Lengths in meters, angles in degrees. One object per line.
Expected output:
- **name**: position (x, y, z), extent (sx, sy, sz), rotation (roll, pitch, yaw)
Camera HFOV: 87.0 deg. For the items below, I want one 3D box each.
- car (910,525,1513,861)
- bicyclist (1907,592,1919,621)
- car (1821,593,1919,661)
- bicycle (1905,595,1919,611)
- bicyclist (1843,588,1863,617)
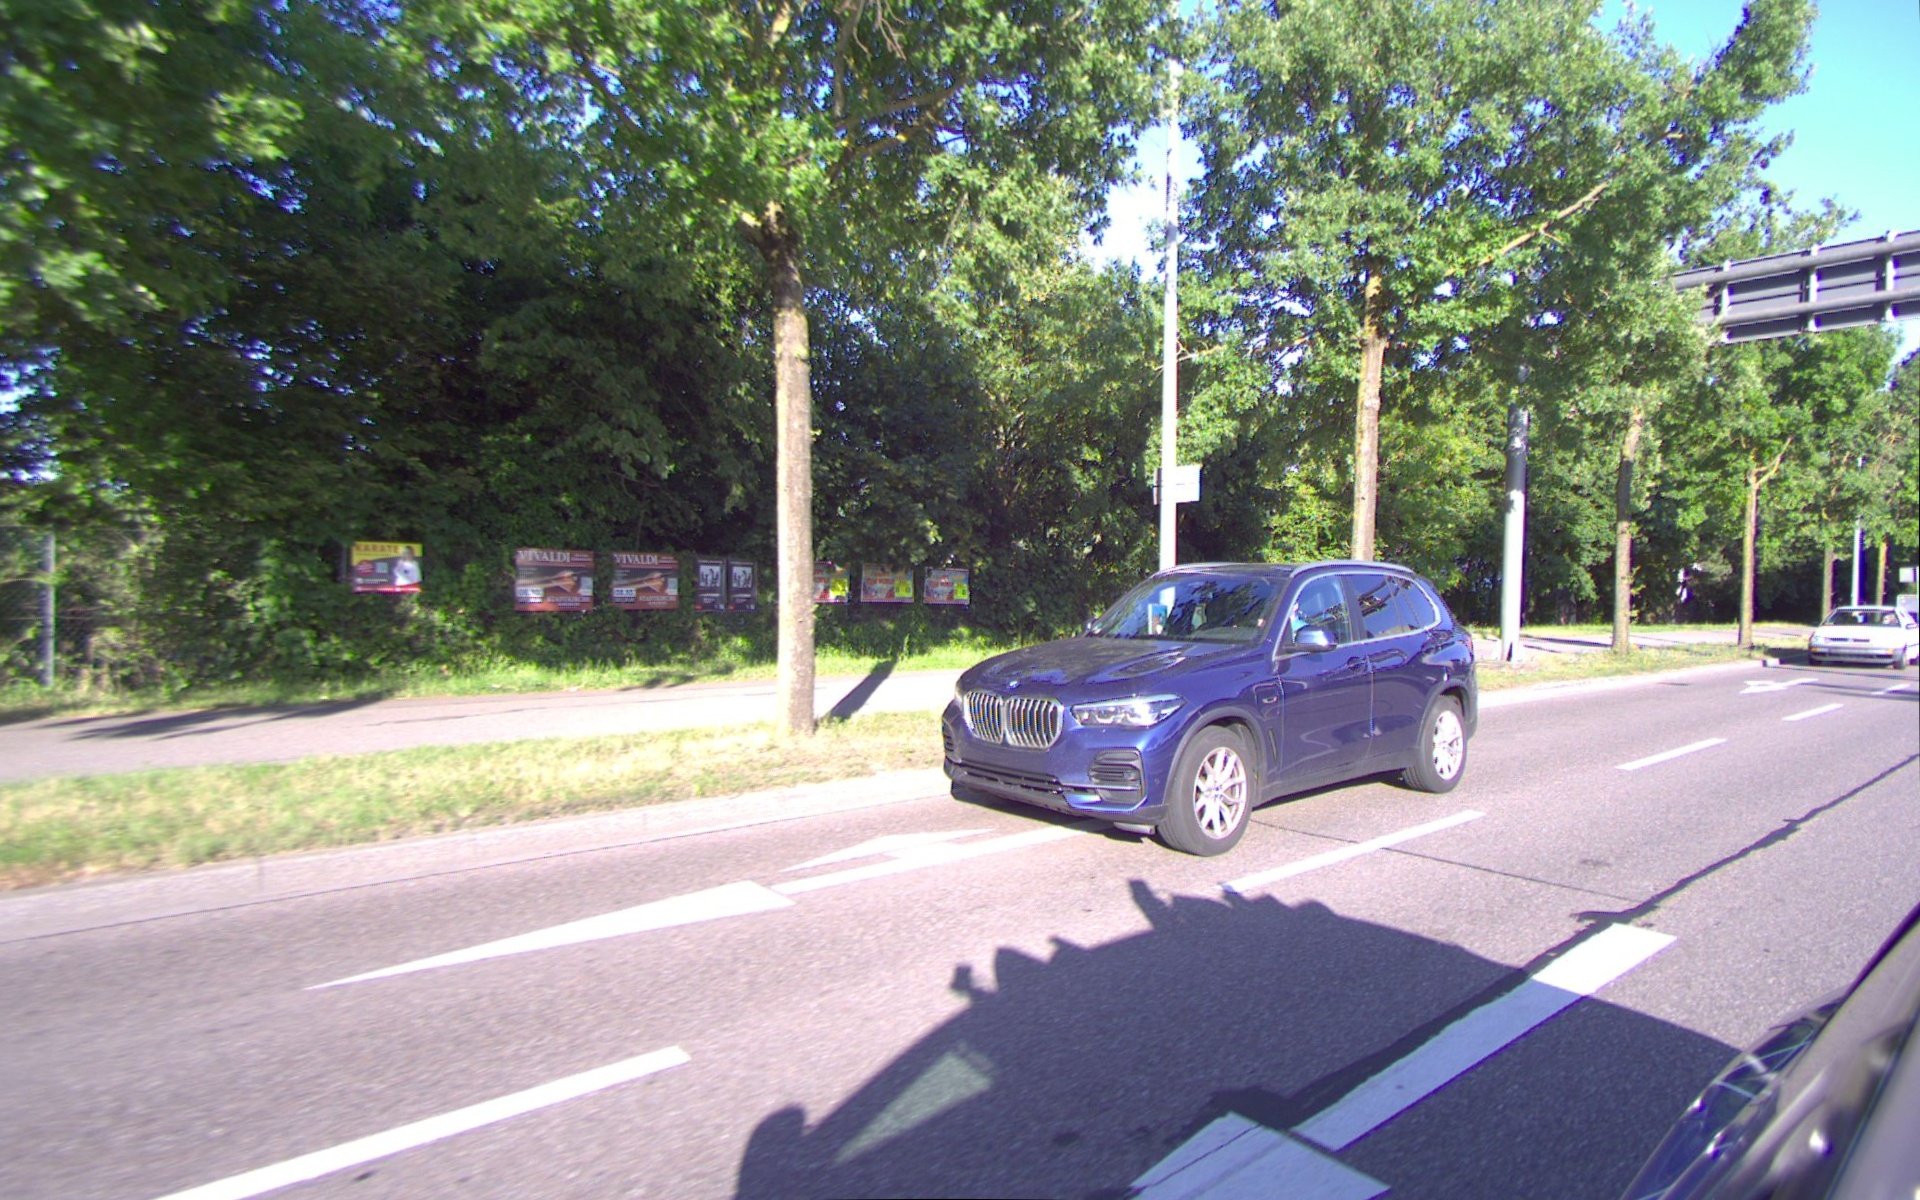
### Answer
- **car**: position (2.068, 0.469, 7.493), extent (4.615, 1.748, 1.959), rotation (0, 1, -39)
- **bicyclist**: position (60.098, 0.411, 63.667), extent (0.832, 1.755, 0.605), rotation (1, 1, -37)
- **car**: position (21.603, 0.630, 23.685), extent (3.966, 1.416, 1.614), rotation (2, 0, -41)
- **bicycle**: position (60.127, 0.175, 63.672), extent (2.020, 0.986, 0.618), rotation (1, 1, -37)
- **bicyclist**: position (47.224, 0.146, 53.514), extent (0.832, 1.520, 0.615), rotation (1, 1, -37)
